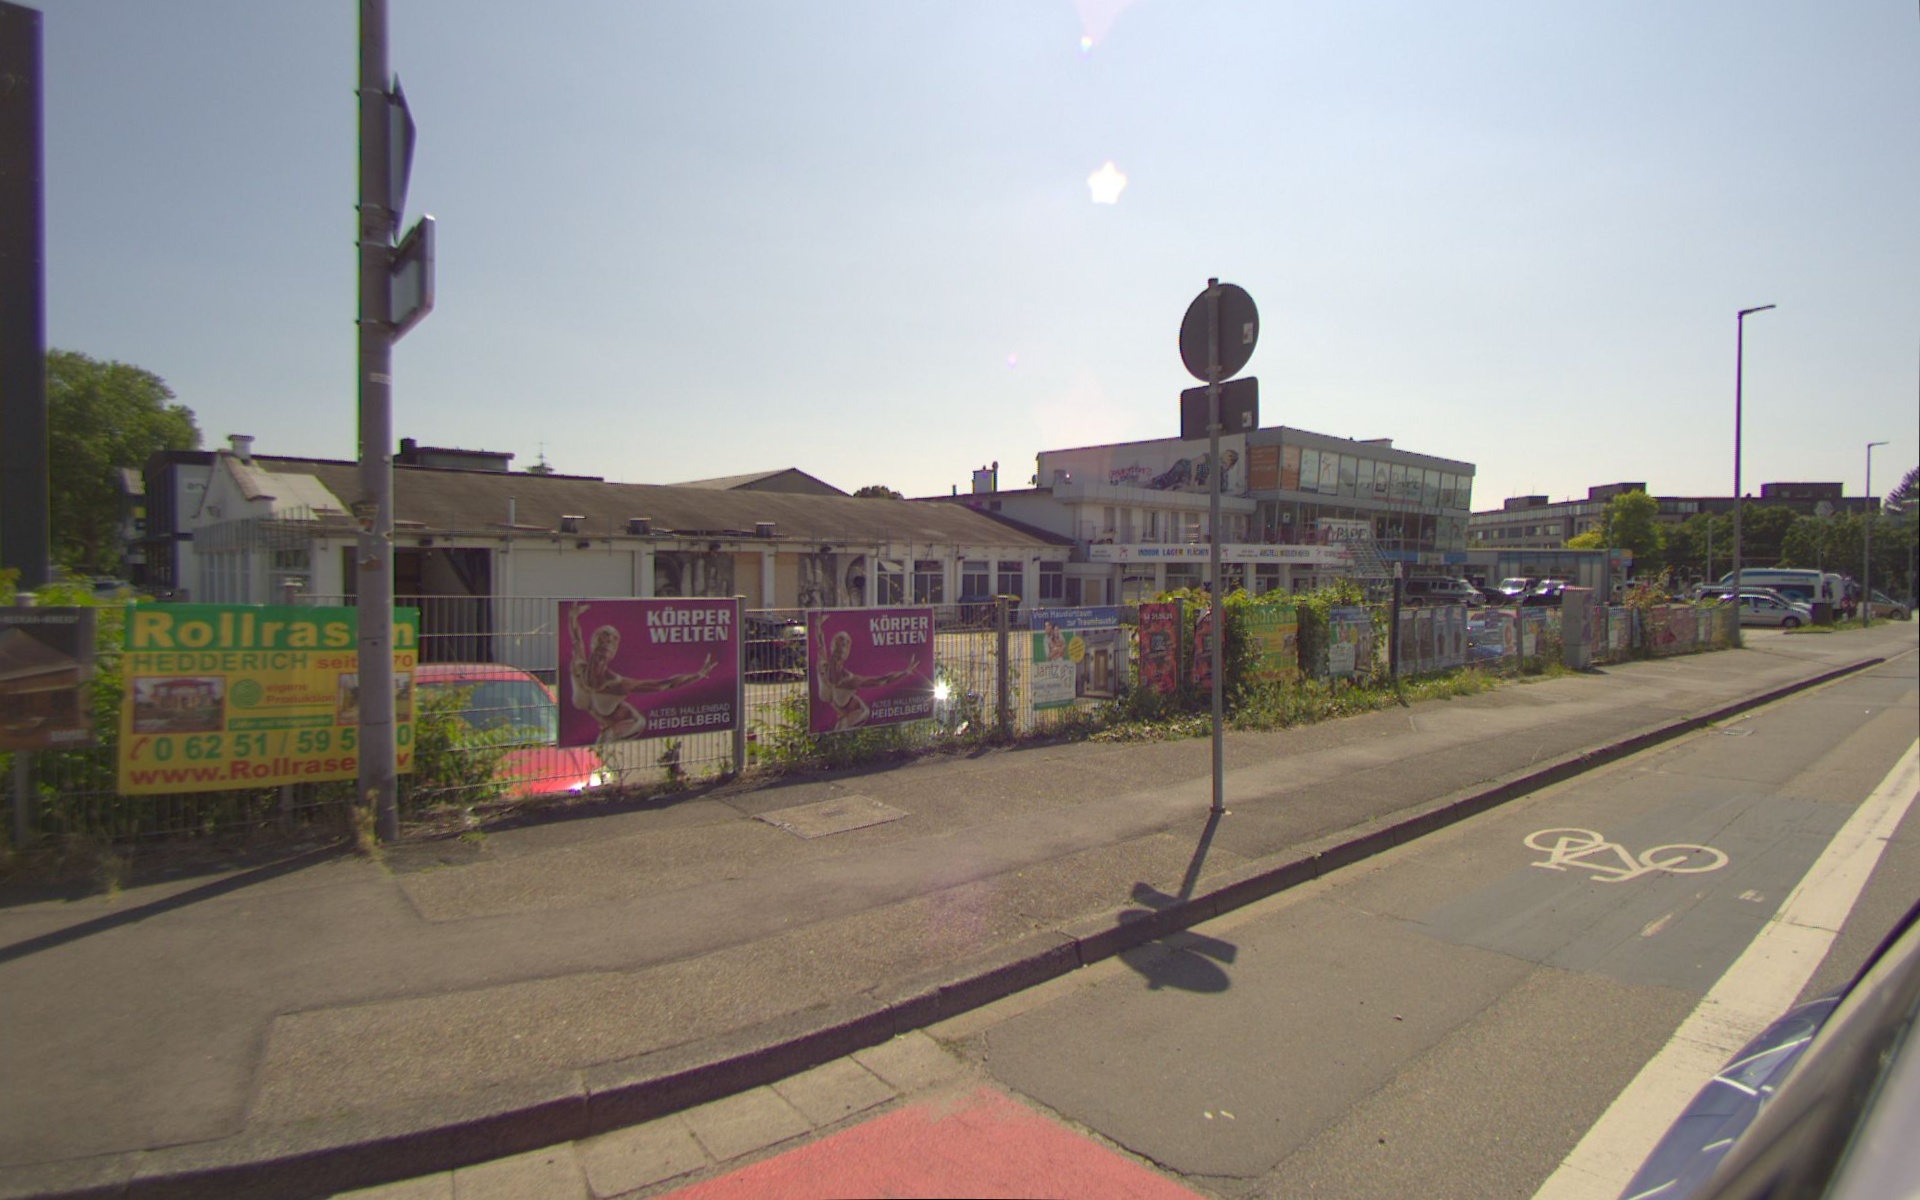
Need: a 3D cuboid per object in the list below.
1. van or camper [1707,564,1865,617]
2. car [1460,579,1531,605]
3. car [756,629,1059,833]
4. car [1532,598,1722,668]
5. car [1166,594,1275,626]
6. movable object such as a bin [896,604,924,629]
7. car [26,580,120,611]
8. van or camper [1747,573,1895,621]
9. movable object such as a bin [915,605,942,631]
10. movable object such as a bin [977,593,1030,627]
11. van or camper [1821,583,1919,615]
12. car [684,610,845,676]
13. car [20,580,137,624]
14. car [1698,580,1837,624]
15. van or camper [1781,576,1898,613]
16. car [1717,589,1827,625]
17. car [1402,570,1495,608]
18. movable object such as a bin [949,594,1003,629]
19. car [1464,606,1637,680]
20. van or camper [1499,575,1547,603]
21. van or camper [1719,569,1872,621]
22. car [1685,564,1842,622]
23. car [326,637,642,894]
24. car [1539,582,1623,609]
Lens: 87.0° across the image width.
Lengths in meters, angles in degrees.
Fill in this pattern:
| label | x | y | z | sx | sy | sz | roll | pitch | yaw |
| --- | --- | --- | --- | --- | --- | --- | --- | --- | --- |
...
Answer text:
| label | x | y | z | sx | sy | sz | roll | pitch | yaw |
| --- | --- | --- | --- | --- | --- | --- | --- | --- | --- |
| van or camper | 44.990 | -0.572 | 55.288 | 2.666 | 2.734 | 6.358 | 0 | 1 | -42 |
| car | 38.458 | -0.576 | 72.741 | 4.106 | 1.754 | 1.968 | 2 | 1 | 44 |
| car | -0.713 | 1.189 | 10.715 | 1.852 | 1.622 | 3.485 | 0 | 0 | -29 |
| car | 19.012 | 0.866 | 29.194 | 1.986 | 1.641 | 5.047 | -5 | 1 | 0 |
| car | 11.693 | 0.431 | 45.658 | 4.475 | 1.306 | 1.892 | -1 | 0 | 7 |
| movable object such as a bin | -2.054 | 0.675 | 41.720 | 0.745 | 1.004 | 0.863 | 1 | 0 | 43 |
| car | -49.673 | -0.239 | 56.760 | 3.930 | 1.670 | 1.761 | 0 | 1 | -41 |
| van or camper | 49.526 | -0.235 | 58.361 | 2.574 | 2.556 | 6.205 | 0 | 1 | -42 |
| movable object such as a bin | -1.321 | 0.732 | 42.366 | 0.745 | 1.049 | 0.863 | 1 | 0 | 43 |
| movable object such as a bin | 1.940 | 0.431 | 44.918 | 1.570 | 1.474 | 1.797 | 1 | 0 | 43 |
| van or camper | 63.363 | -0.062 | 70.187 | 5.068 | 1.985 | 1.977 | 2 | 3 | 18 |
| car | -4.972 | 0.998 | 25.365 | 2.082 | 1.416 | 4.336 | 0 | 0 | -41 |
| car | -40.424 | 0.072 | 46.533 | 3.928 | 1.927 | 1.762 | 1 | 1 | -39 |
| car | 41.013 | 0.080 | 51.498 | 1.966 | 1.976 | 5.242 | 0 | 2 | -42 |
| van or camper | 67.536 | -0.428 | 77.812 | 6.265 | 2.669 | 2.525 | 1 | 1 | 12 |
| car | 39.376 | 0.319 | 49.117 | 1.768 | 1.613 | 3.927 | 0 | 1 | -43 |
| car | 33.736 | -0.779 | 69.975 | 5.296 | 2.449 | 2.290 | 2 | 1 | 43 |
| movable object such as a bin | 0.681 | 0.475 | 43.624 | 1.570 | 1.474 | 1.728 | 1 | 0 | 43 |
| car | 14.731 | 1.018 | 25.500 | 1.855 | 1.637 | 3.834 | 0 | 0 | -6 |
| van or camper | 42.789 | -0.852 | 76.884 | 2.116 | 2.039 | 5.038 | 2 | 1 | 41 |
| van or camper | 47.100 | -0.340 | 57.208 | 2.666 | 2.750 | 6.358 | 0 | 1 | -42 |
| car | 42.502 | -0.431 | 53.682 | 2.280 | 2.905 | 6.238 | 0 | 1 | -42 |
| car | -4.027 | 1.075 | 8.187 | 1.576 | 1.363 | 3.999 | 0 | 0 | -36 |
| car | 42.559 | -0.342 | 69.411 | 4.539 | 1.699 | 1.968 | 2 | 2 | 44 |
